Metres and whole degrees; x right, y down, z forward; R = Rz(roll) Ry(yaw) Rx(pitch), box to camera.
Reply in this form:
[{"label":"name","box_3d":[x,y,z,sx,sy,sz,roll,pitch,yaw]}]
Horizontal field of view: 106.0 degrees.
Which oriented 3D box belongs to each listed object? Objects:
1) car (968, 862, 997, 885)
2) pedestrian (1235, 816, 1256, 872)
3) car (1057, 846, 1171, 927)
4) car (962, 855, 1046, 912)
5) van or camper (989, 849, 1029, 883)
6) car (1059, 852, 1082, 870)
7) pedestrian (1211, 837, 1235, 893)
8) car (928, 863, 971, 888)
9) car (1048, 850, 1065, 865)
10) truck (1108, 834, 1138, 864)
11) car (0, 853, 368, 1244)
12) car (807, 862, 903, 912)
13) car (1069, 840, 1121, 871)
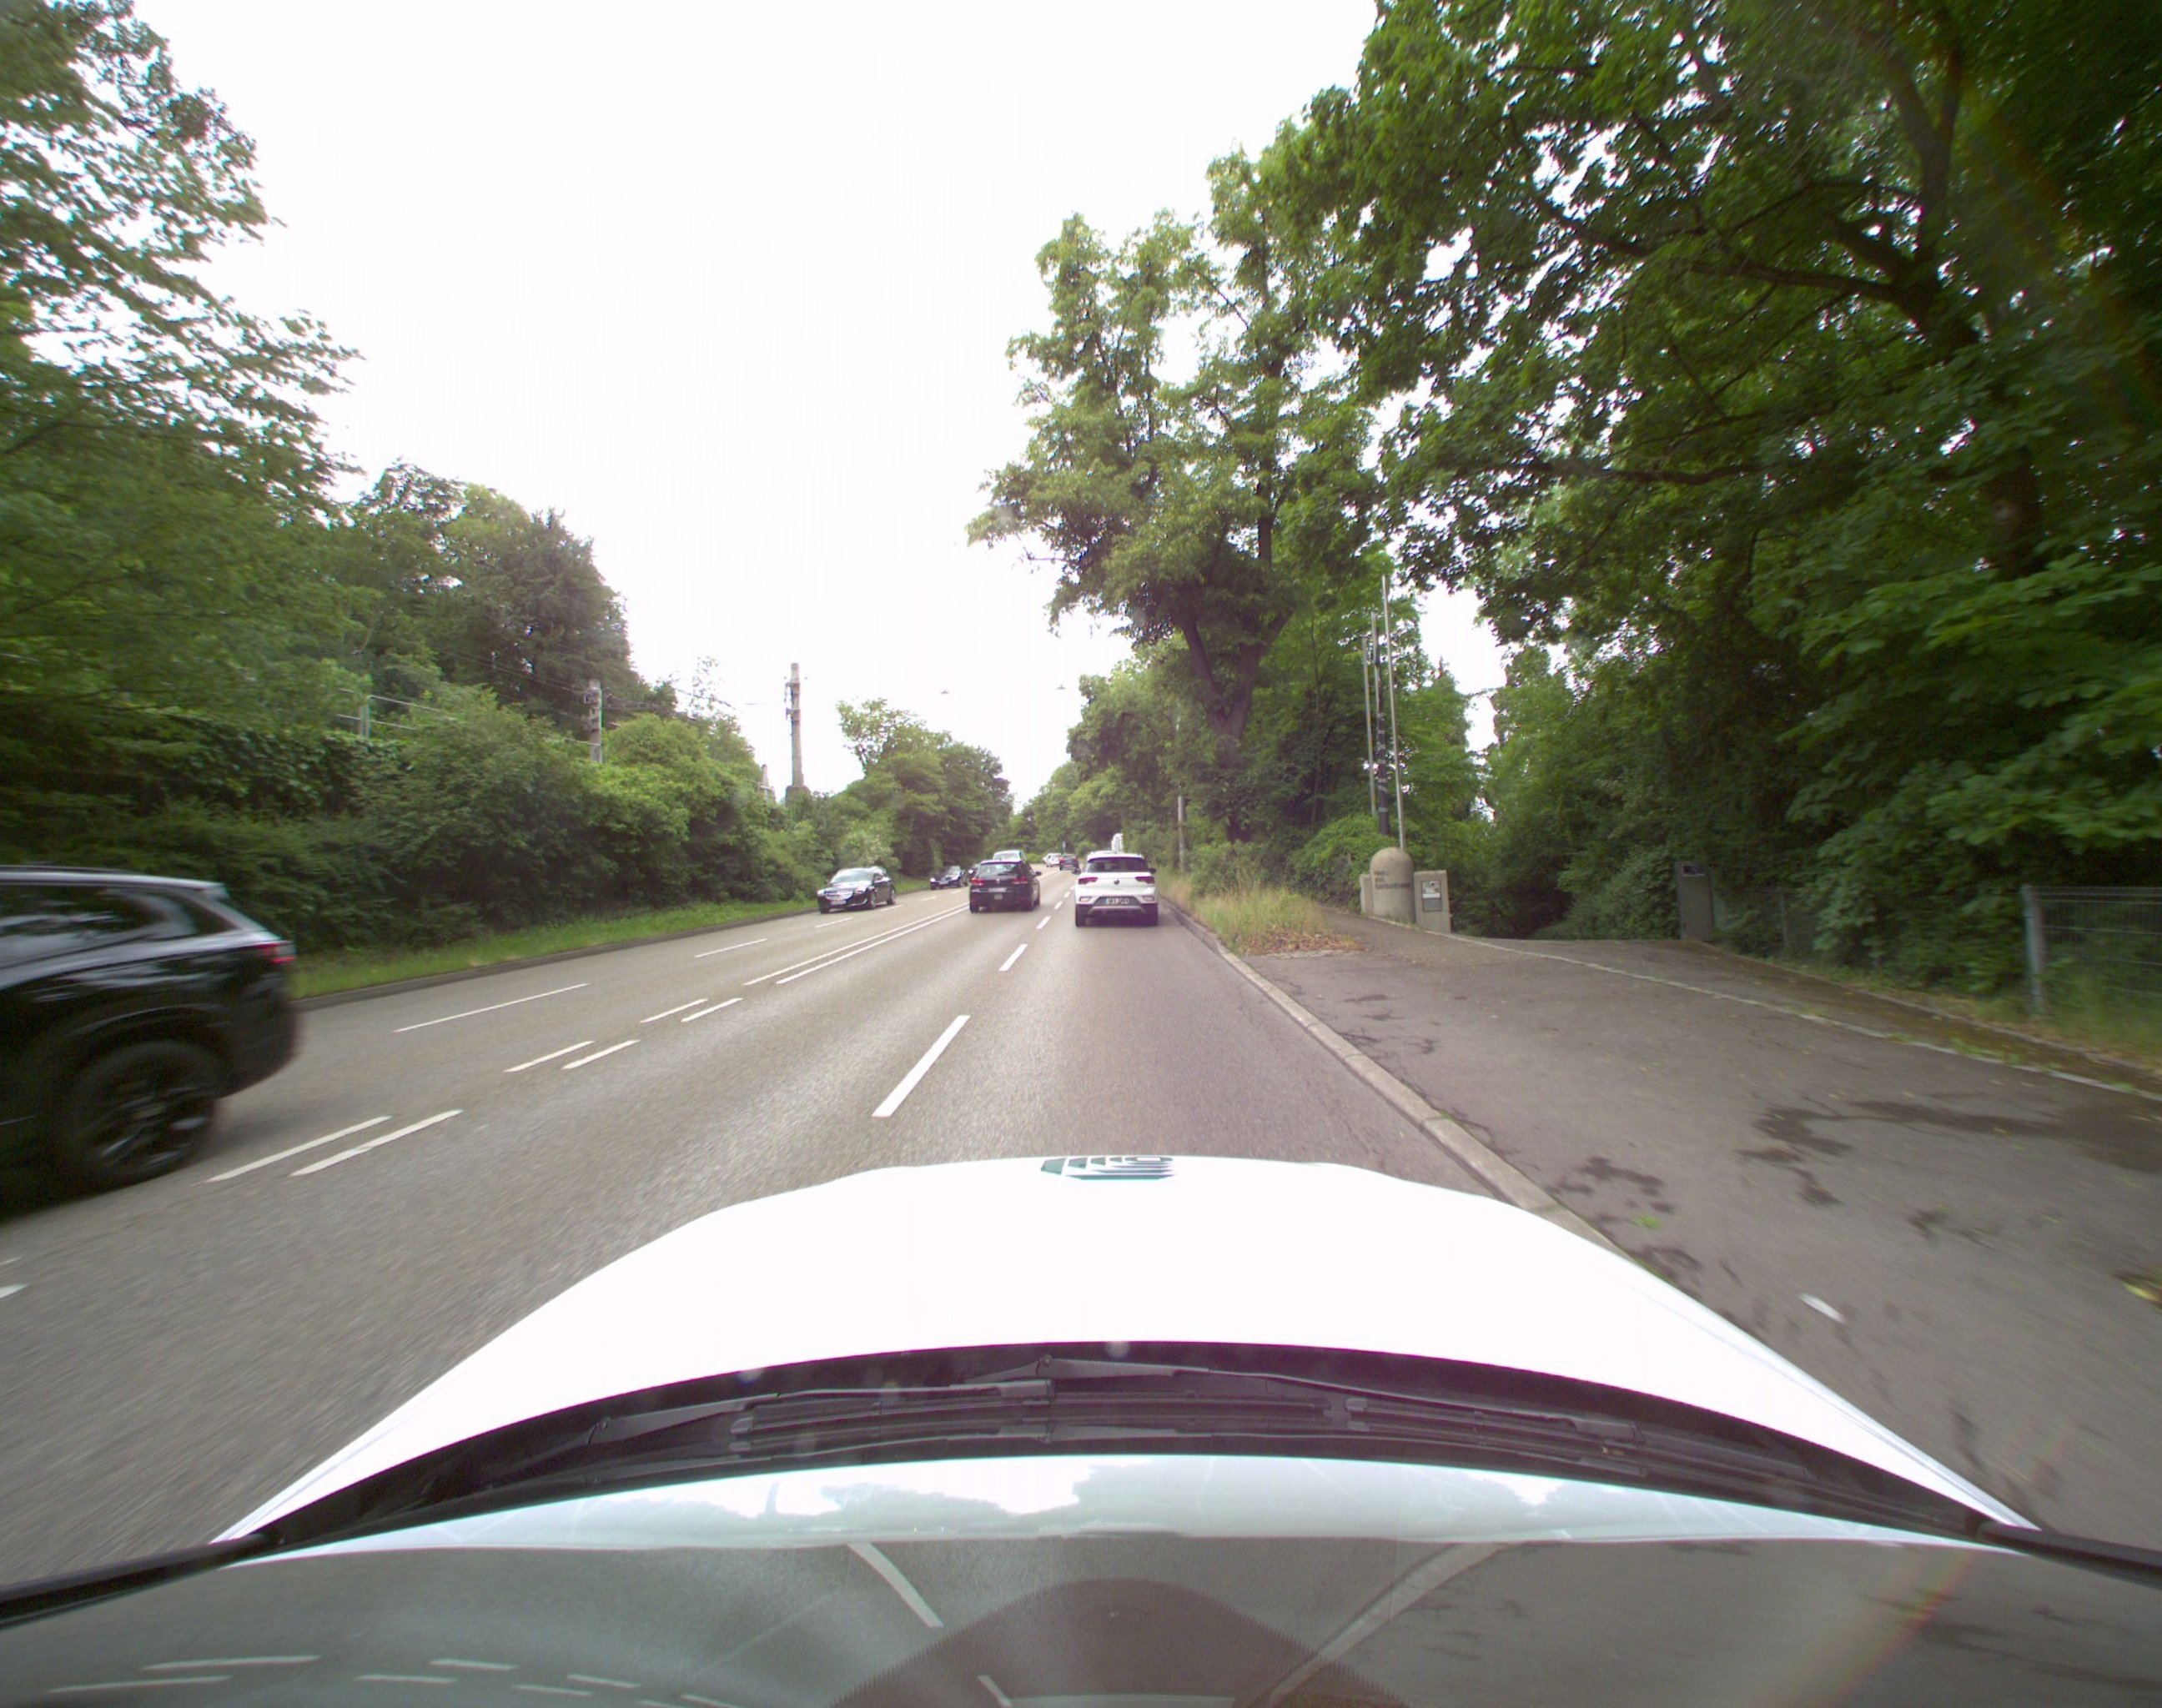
[{"label":"car","box_3d":[-7.287,1.442,60.550,1.469,1.596,4.002,-1,0,2]},{"label":"pedestrian","box_3d":[5.180,-0.311,25.670,0.518,1.753,0.524,-1,-1,-2]},{"label":"car","box_3d":[0.615,0.665,18.458,1.998,1.596,3.991,-1,0,-6]},{"label":"car","box_3d":[-2.138,0.793,23.631,1.942,1.466,4.001,-1,0,1]},{"label":"van or camper","box_3d":[-4.586,0.751,52.674,1.987,2.013,5.368,-2,0,0]},{"label":"car","box_3d":[-0.966,0.645,76.719,1.986,1.592,4.001,-1,0,1]},{"label":"pedestrian","box_3d":[4.387,0.347,25.141,0.607,1.698,0.548,-1,-1,-2]},{"label":"car","box_3d":[-7.689,1.231,48.006,1.760,1.310,4.001,-1,0,1]},{"label":"car","box_3d":[-2.843,0.427,94.842,1.815,1.623,4.001,-1,0,1]},{"label":"truck","box_3d":[4.606,-0.537,89.934,2.477,3.182,7.219,-1,0,-4]},{"label":"car","box_3d":[-5.604,0.909,2.814,1.803,1.662,4.832,-4,0,2]},{"label":"car","box_3d":[-7.903,1.110,28.960,1.906,1.468,4.531,-4,0,2]},{"label":"car","box_3d":[0.812,0.116,50.965,1.858,1.702,3.973,-5,1,-20]}]
